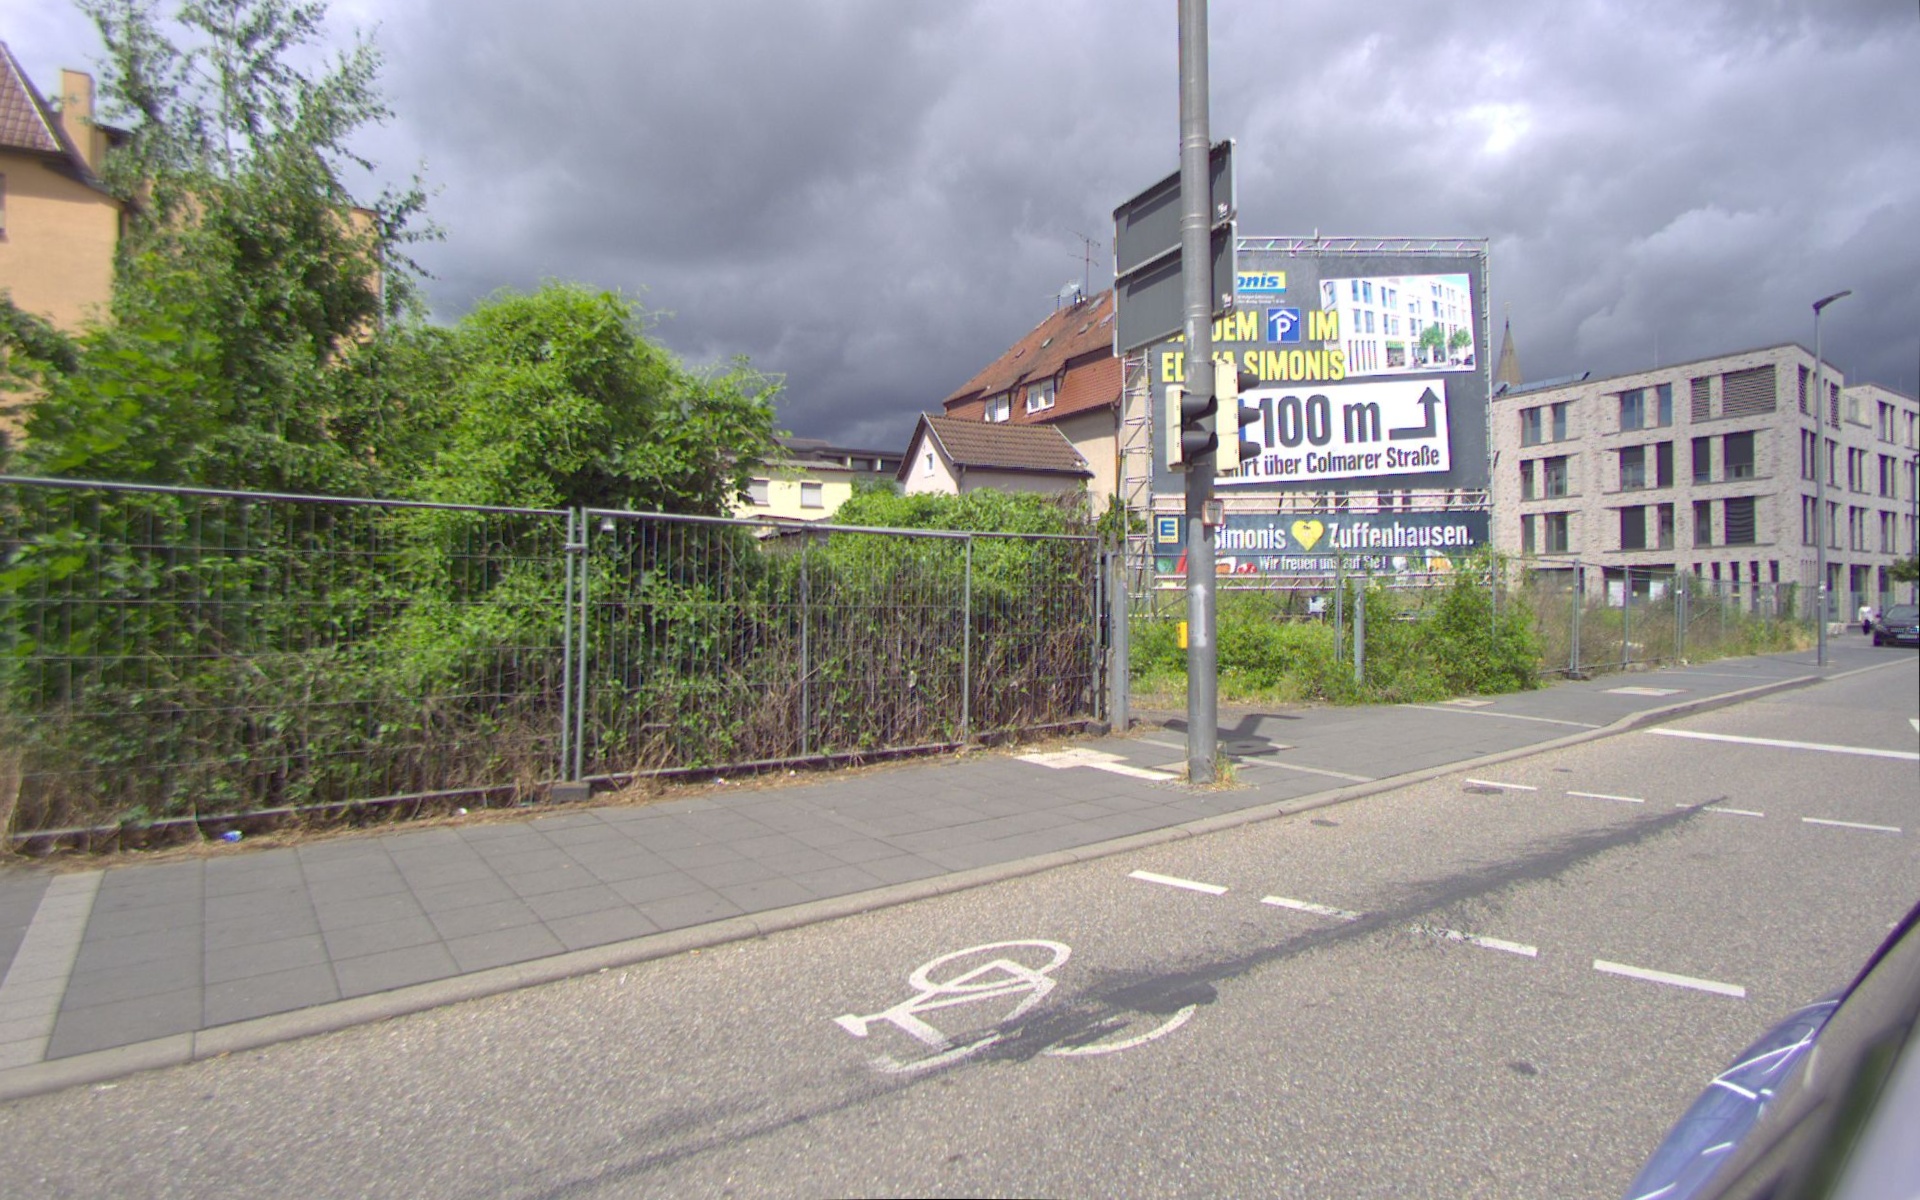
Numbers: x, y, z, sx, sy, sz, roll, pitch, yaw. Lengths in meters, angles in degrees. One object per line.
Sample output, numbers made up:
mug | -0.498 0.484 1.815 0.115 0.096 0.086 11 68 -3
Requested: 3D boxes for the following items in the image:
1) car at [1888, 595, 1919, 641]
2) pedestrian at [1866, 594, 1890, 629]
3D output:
car | 32.720 0.603 34.030 3.726 1.441 1.678 -1 2 -39
pedestrian | 40.617 0.488 44.782 0.769 1.531 0.673 1 0 -41
